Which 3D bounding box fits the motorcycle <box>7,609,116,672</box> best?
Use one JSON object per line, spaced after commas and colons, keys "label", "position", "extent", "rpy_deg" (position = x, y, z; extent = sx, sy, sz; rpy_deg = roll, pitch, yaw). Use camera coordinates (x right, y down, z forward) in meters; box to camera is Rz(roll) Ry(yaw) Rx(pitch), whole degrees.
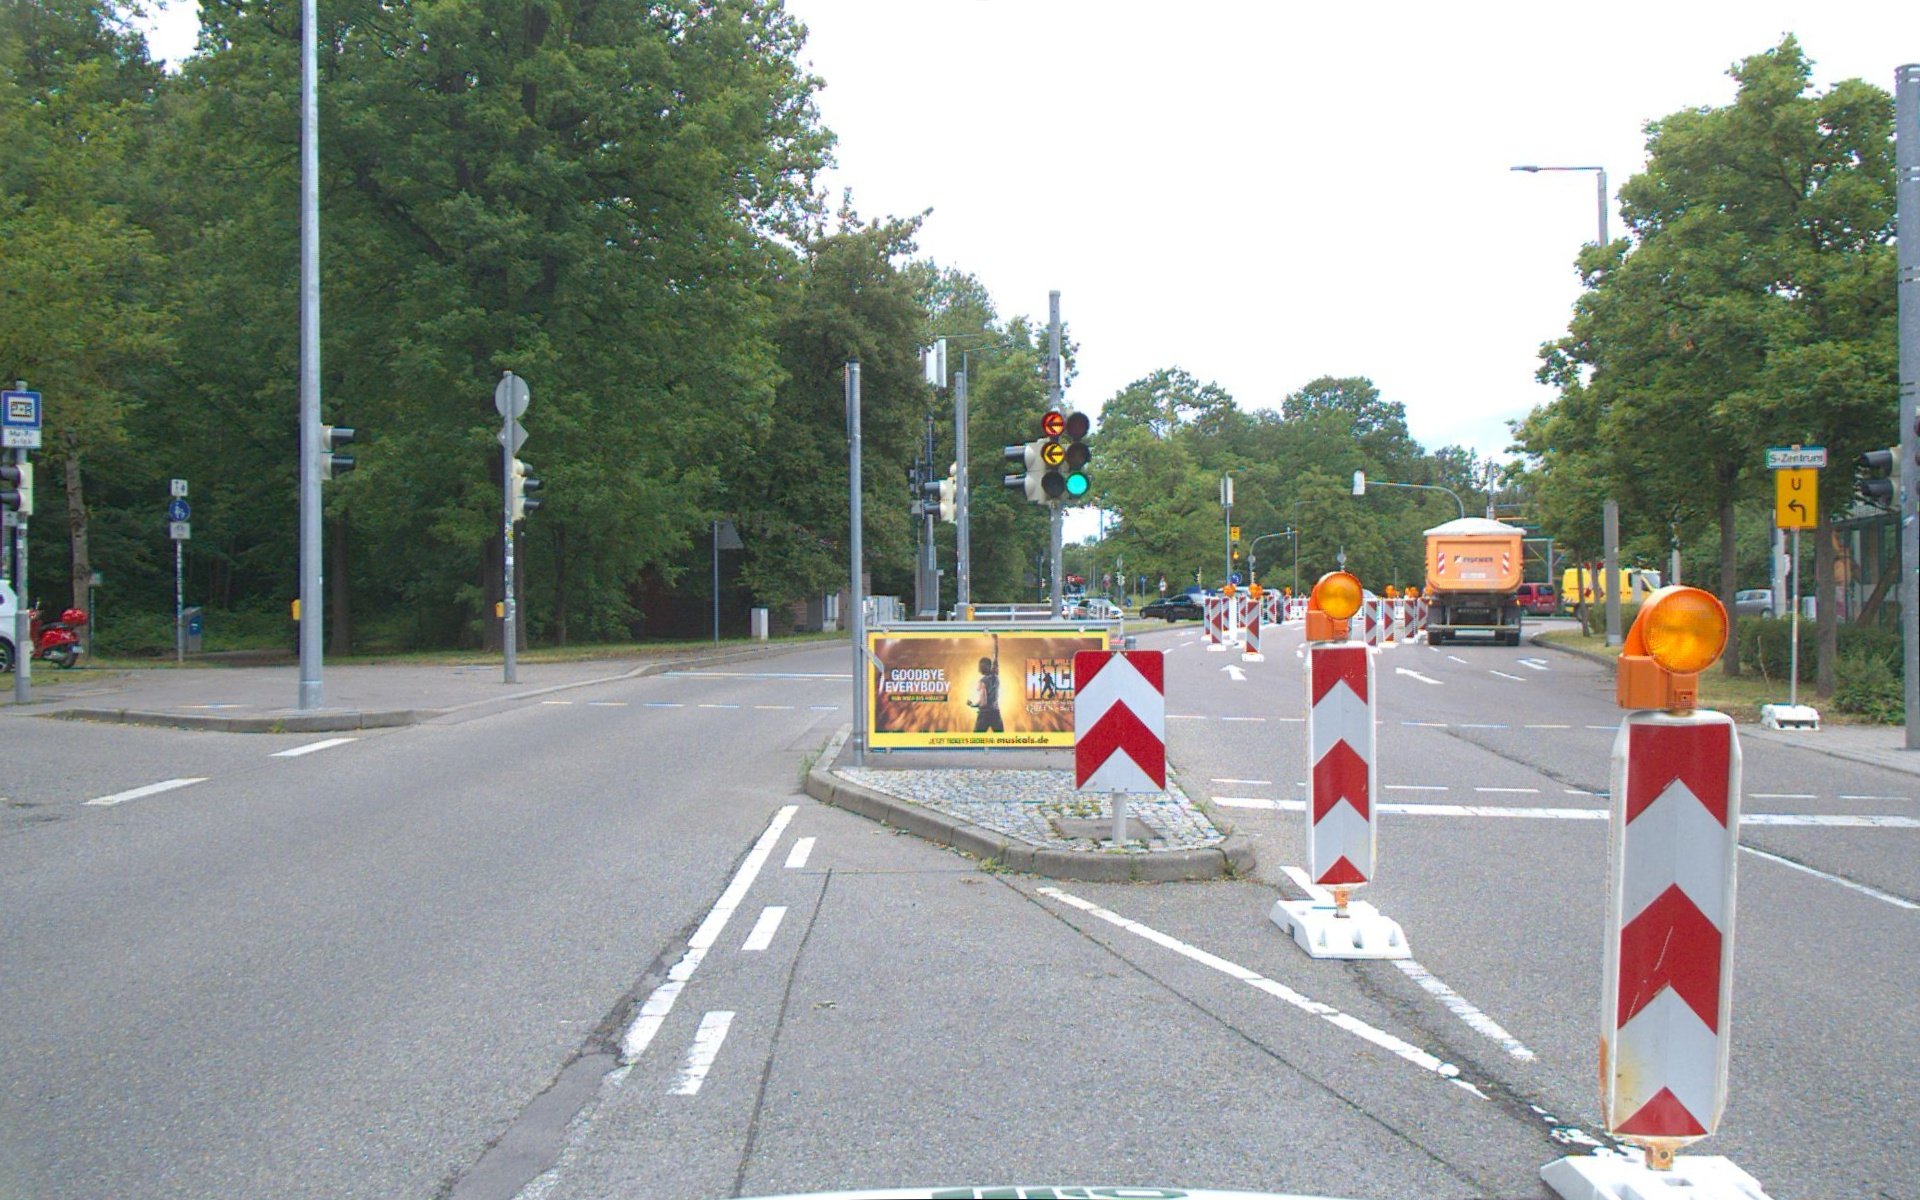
{"label": "motorcycle", "position": [-17.433, 0.780, 32.089], "extent": [1.963, 1.181, 0.677], "rpy_deg": [-1, 0, 18]}

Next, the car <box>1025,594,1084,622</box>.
{"label": "car", "position": [6.668, 0.526, 117.221], "extent": [1.984, 1.915, 3.937], "rpy_deg": [1, 0, -43]}

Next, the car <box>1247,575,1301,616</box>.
{"label": "car", "position": [13.989, -0.177, 73.601], "extent": [1.759, 1.769, 3.703], "rpy_deg": [1, 0, 20]}

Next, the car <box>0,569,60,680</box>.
{"label": "car", "position": [-16.501, 0.444, 25.116], "extent": [2.118, 1.722, 4.527], "rpy_deg": [-2, 0, 30]}

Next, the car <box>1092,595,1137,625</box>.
{"label": "car", "position": [9.742, 0.646, 104.026], "extent": [1.951, 1.780, 4.581], "rpy_deg": [1, 0, 17]}

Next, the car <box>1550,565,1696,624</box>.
{"label": "car", "position": [29.656, -0.246, 74.211], "extent": [1.975, 2.537, 6.079], "rpy_deg": [1, 0, -33]}

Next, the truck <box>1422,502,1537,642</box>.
{"label": "truck", "position": [14.812, -0.780, 46.787], "extent": [2.799, 3.576, 8.251], "rpy_deg": [-1, 1, 19]}

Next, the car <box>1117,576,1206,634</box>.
{"label": "car", "position": [6.433, 0.163, 52.494], "extent": [1.952, 1.747, 4.001], "rpy_deg": [1, 0, 20]}
